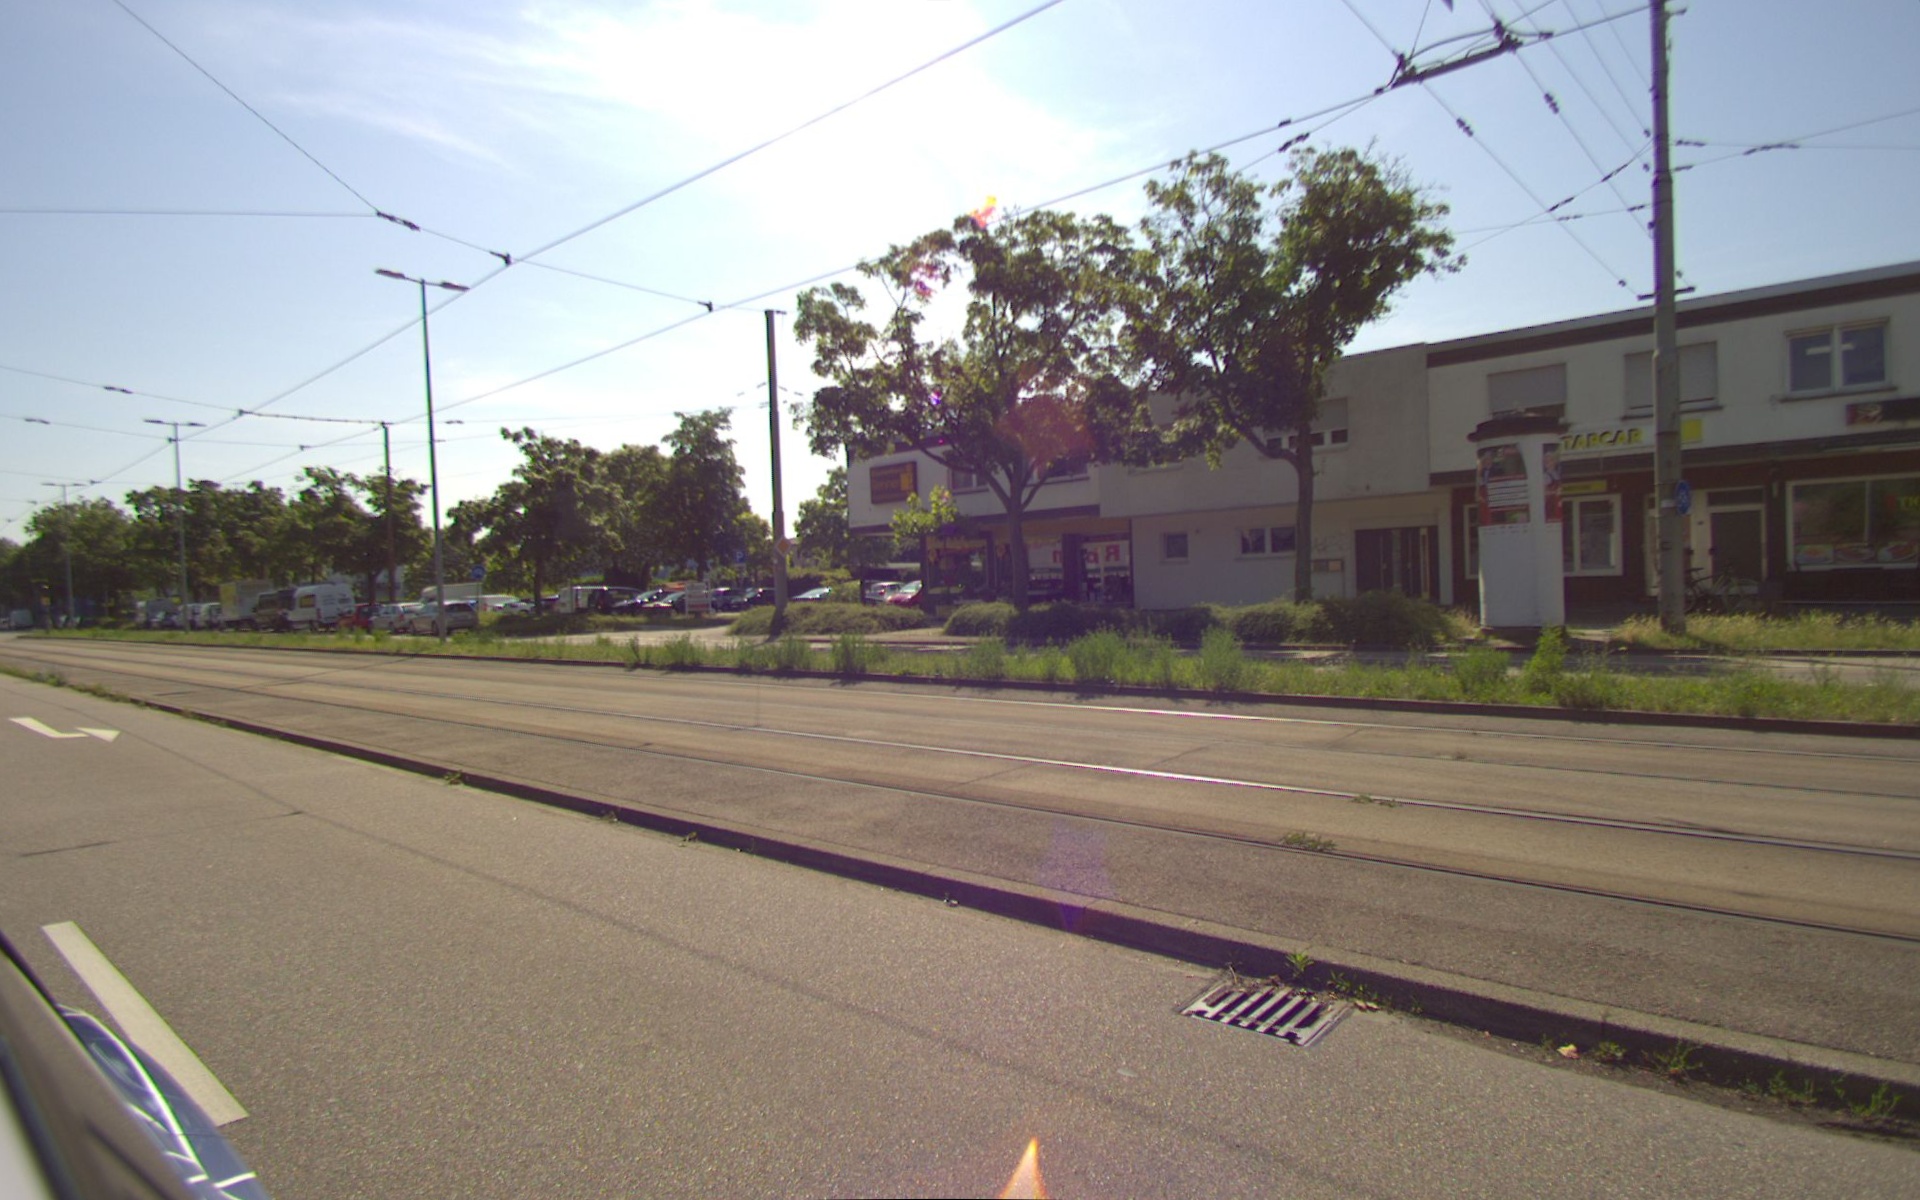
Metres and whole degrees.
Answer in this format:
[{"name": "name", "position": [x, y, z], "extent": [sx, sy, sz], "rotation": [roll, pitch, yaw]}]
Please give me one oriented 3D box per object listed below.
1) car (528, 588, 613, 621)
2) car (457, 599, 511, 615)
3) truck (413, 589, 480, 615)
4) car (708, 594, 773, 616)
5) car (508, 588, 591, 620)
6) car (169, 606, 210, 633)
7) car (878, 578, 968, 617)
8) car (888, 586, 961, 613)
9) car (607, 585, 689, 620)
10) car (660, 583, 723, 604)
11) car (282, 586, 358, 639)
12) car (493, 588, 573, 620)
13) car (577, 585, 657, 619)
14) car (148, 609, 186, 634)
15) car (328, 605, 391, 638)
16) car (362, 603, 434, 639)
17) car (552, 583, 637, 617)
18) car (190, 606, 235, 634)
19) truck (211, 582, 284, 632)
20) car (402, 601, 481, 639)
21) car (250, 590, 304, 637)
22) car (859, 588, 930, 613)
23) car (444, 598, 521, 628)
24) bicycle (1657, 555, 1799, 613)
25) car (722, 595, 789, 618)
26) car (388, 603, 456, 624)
[{"name": "car", "position": [-22.408, 0.236, 58.310], "extent": [1.988, 1.751, 4.068], "rotation": [-2, 1, 38]}, {"name": "car", "position": [-44.375, 0.658, 94.405], "extent": [1.676, 1.345, 4.198], "rotation": [-2, 1, 42]}, {"name": "truck", "position": [-51.474, 0.144, 101.578], "extent": [1.988, 2.398, 5.584], "rotation": [-2, 1, 38]}, {"name": "car", "position": [-15.125, 0.307, 69.973], "extent": [1.676, 1.345, 4.197], "rotation": [-2, 1, 43]}, {"name": "car", "position": [-24.273, 0.225, 59.986], "extent": [1.988, 1.751, 4.068], "rotation": [-2, 1, 38]}, {"name": "car", "position": [-58.193, 1.497, 76.384], "extent": [4.056, 1.859, 1.484], "rotation": [-2, 4, 40]}, {"name": "car", "position": [-1.654, -0.130, 46.575], "extent": [1.676, 1.616, 4.197], "rotation": [-2, 1, 43]}, {"name": "car", "position": [-2.017, -0.026, 58.052], "extent": [1.676, 1.345, 4.197], "rotation": [-2, 1, 43]}, {"name": "car", "position": [-16.340, 0.122, 53.066], "extent": [1.676, 1.646, 3.761], "rotation": [-2, 1, 43]}, {"name": "car", "position": [-19.439, -0.463, 73.356], "extent": [1.674, 1.345, 4.201], "rotation": [-2, 1, 39]}, {"name": "car", "position": [-35.581, 0.685, 56.200], "extent": [5.201, 2.673, 2.036], "rotation": [-2, 4, 41]}, {"name": "car", "position": [-26.390, 0.224, 62.646], "extent": [1.988, 1.751, 4.068], "rotation": [-2, 1, 38]}, {"name": "car", "position": [-18.636, 0.103, 55.131], "extent": [1.676, 1.646, 3.761], "rotation": [-2, 1, 43]}, {"name": "car", "position": [-62.744, 1.718, 80.054], "extent": [3.685, 1.799, 1.484], "rotation": [-2, 4, 40]}, {"name": "car", "position": [-31.379, 1.124, 52.831], "extent": [3.791, 1.544, 1.654], "rotation": [-2, 4, 41]}, {"name": "car", "position": [-27.575, 1.039, 49.613], "extent": [4.255, 1.544, 1.654], "rotation": [-2, 4, 41]}, {"name": "car", "position": [-20.464, -0.009, 56.792], "extent": [1.988, 1.751, 4.068], "rotation": [-2, 1, 38]}, {"name": "car", "position": [-53.087, 1.432, 71.823], "extent": [4.631, 1.817, 1.483], "rotation": [-2, 4, 41]}, {"name": "truck", "position": [-46.674, 0.502, 66.209], "extent": [5.902, 2.956, 2.476], "rotation": [-2, 4, 42]}, {"name": "car", "position": [-23.562, 0.917, 45.942], "extent": [4.255, 1.544, 1.654], "rotation": [-2, 4, 41]}, {"name": "car", "position": [-40.602, 0.812, 60.137], "extent": [4.005, 2.643, 1.483], "rotation": [-2, 4, 41]}, {"name": "car", "position": [-3.867, 0.023, 60.314], "extent": [1.676, 1.345, 4.197], "rotation": [-2, 1, 43]}, {"name": "car", "position": [-31.655, 0.864, 67.072], "extent": [5.739, 1.824, 2.560], "rotation": [-2, 1, 42]}, {"name": "bicycle", "position": [16.273, -0.309, 21.491], "extent": [2.333, 1.161, 0.779], "rotation": [-1, -1, 42]}, {"name": "car", "position": [-13.766, 0.431, 68.195], "extent": [1.676, 1.345, 4.197], "rotation": [-2, 1, 43]}, {"name": "car", "position": [-40.412, 1.019, 76.097], "extent": [1.676, 1.345, 4.198], "rotation": [-2, 1, 42]}]
